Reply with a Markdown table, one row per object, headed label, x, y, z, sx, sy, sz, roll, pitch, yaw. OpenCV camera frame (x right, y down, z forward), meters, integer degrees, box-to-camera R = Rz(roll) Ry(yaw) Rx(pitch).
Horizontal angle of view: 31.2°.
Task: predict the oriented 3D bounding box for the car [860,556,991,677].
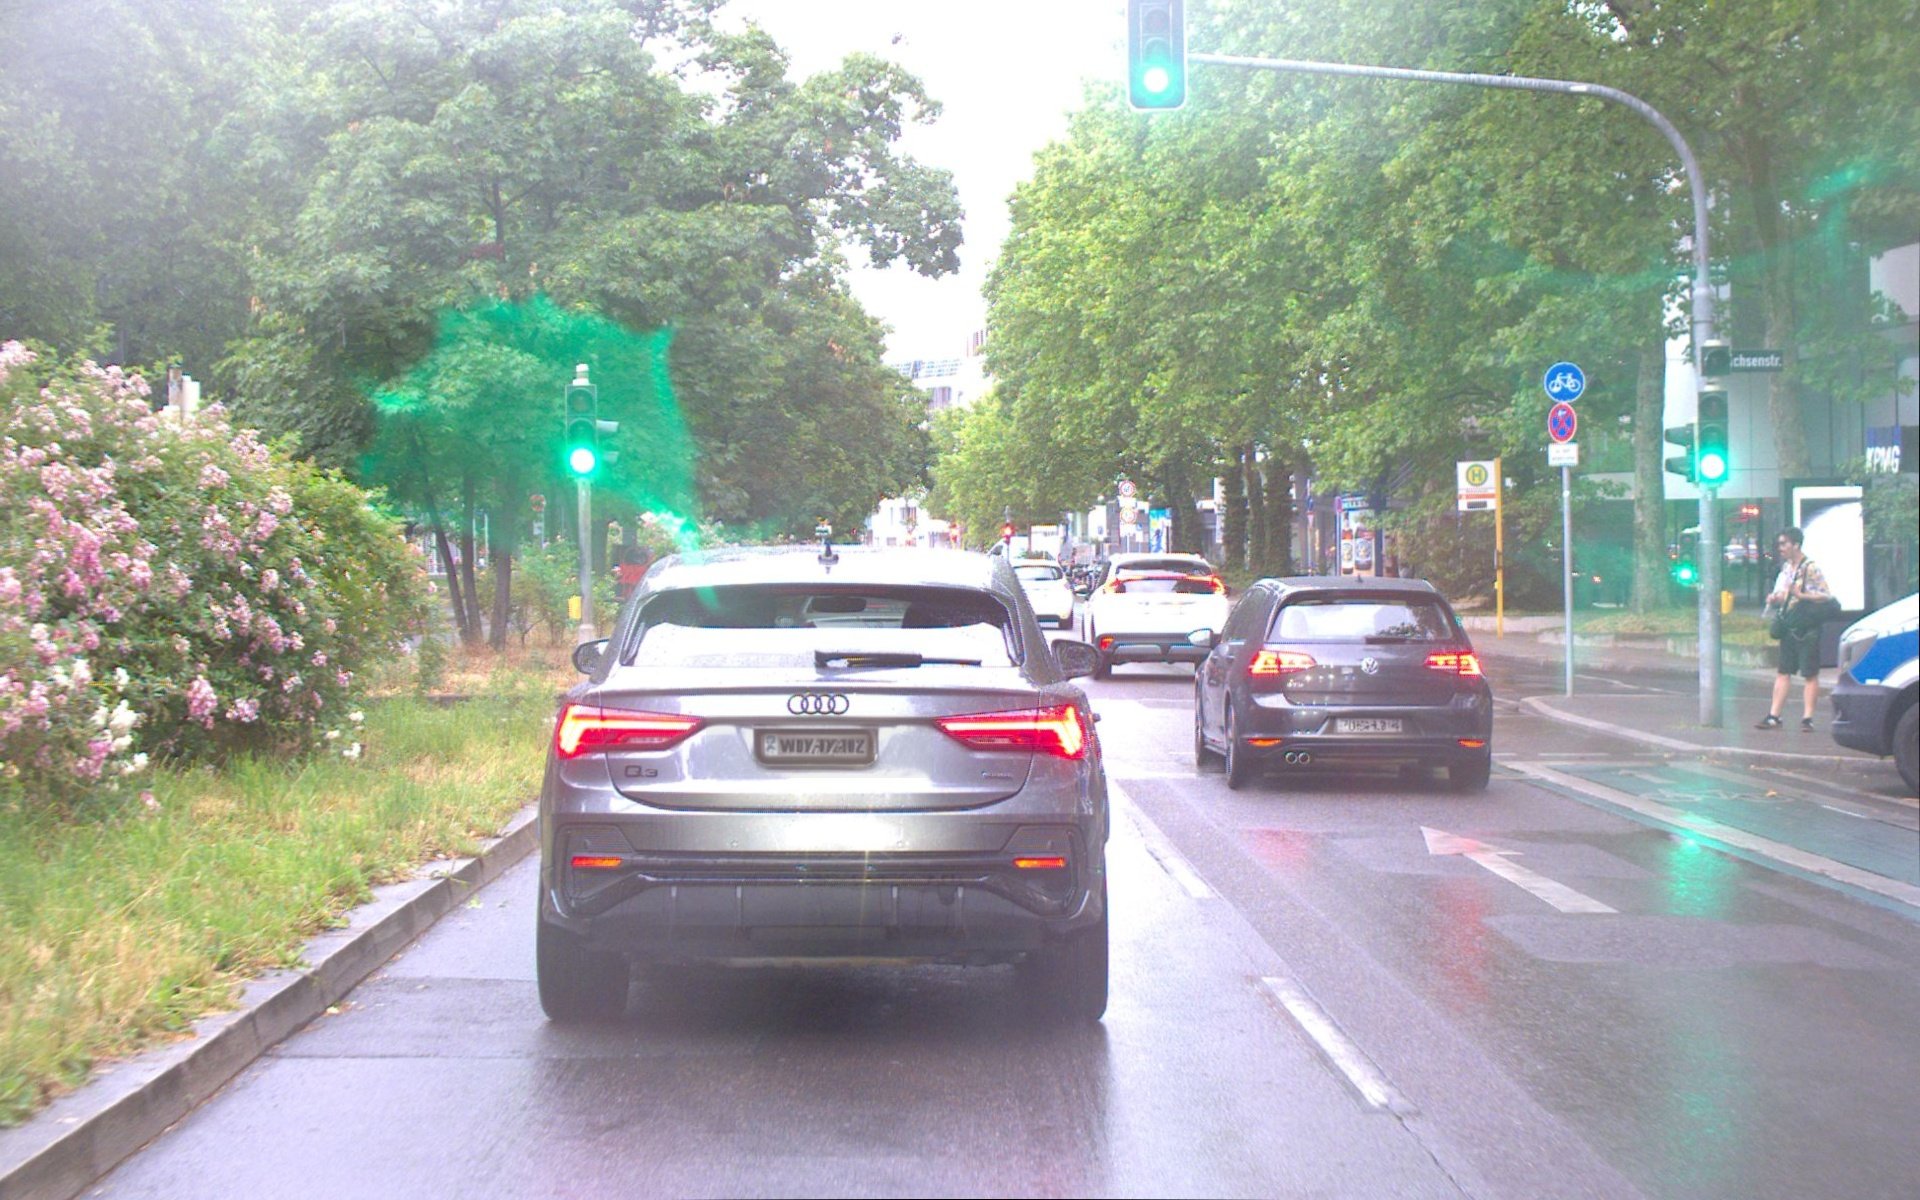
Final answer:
| label | x | y | z | sx | sy | sz | roll | pitch | yaw |
| --- | --- | --- | --- | --- | --- | --- | --- | --- | --- |
| car | -0.491 | 0.192 | 47.524 | 1.721 | 1.572 | 3.962 | 0 | 1 | -1 |

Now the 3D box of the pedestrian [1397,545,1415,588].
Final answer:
| label | x | y | z | sx | sy | sz | roll | pitch | yaw |
| --- | --- | --- | --- | --- | --- | --- | --- | --- | --- |
| pedestrian | 18.841 | -1.407 | 145.326 | 0.650 | 1.809 | 0.655 | 0 | 1 | -1 |

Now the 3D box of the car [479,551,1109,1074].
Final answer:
| label | x | y | z | sx | sy | sz | roll | pitch | yaw |
| --- | --- | --- | --- | --- | --- | --- | --- | --- | --- |
| car | -0.469 | 0.601 | 12.455 | 1.863 | 1.527 | 4.527 | 0 | 1 | 1 |

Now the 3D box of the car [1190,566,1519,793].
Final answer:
| label | x | y | z | sx | sy | sz | roll | pitch | yaw |
| --- | --- | --- | --- | --- | --- | --- | --- | --- | --- |
| car | 2.687 | 0.493 | 24.240 | 1.765 | 1.408 | 4.000 | -1 | 1 | -1 |

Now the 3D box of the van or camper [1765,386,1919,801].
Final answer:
| label | x | y | z | sx | sy | sz | roll | pitch | yaw |
| --- | --- | --- | --- | --- | --- | --- | --- | --- | --- |
| van or camper | 8.278 | -0.041 | 21.822 | 5.809 | 2.668 | 2.143 | 0 | 1 | 37 |

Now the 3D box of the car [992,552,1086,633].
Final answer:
| label | x | y | z | sx | sy | sz | roll | pitch | yaw |
| --- | --- | --- | --- | --- | --- | --- | --- | --- | --- |
| car | 1.770 | -0.196 | 78.134 | 1.993 | 1.744 | 4.000 | -1 | 1 | 0 |

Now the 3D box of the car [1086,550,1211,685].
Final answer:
| label | x | y | z | sx | sy | sz | roll | pitch | yaw |
| --- | --- | --- | --- | --- | --- | --- | --- | --- | --- |
| car | 2.447 | 0.197 | 45.081 | 1.433 | 1.679 | 2.979 | -1 | 1 | 0 |
